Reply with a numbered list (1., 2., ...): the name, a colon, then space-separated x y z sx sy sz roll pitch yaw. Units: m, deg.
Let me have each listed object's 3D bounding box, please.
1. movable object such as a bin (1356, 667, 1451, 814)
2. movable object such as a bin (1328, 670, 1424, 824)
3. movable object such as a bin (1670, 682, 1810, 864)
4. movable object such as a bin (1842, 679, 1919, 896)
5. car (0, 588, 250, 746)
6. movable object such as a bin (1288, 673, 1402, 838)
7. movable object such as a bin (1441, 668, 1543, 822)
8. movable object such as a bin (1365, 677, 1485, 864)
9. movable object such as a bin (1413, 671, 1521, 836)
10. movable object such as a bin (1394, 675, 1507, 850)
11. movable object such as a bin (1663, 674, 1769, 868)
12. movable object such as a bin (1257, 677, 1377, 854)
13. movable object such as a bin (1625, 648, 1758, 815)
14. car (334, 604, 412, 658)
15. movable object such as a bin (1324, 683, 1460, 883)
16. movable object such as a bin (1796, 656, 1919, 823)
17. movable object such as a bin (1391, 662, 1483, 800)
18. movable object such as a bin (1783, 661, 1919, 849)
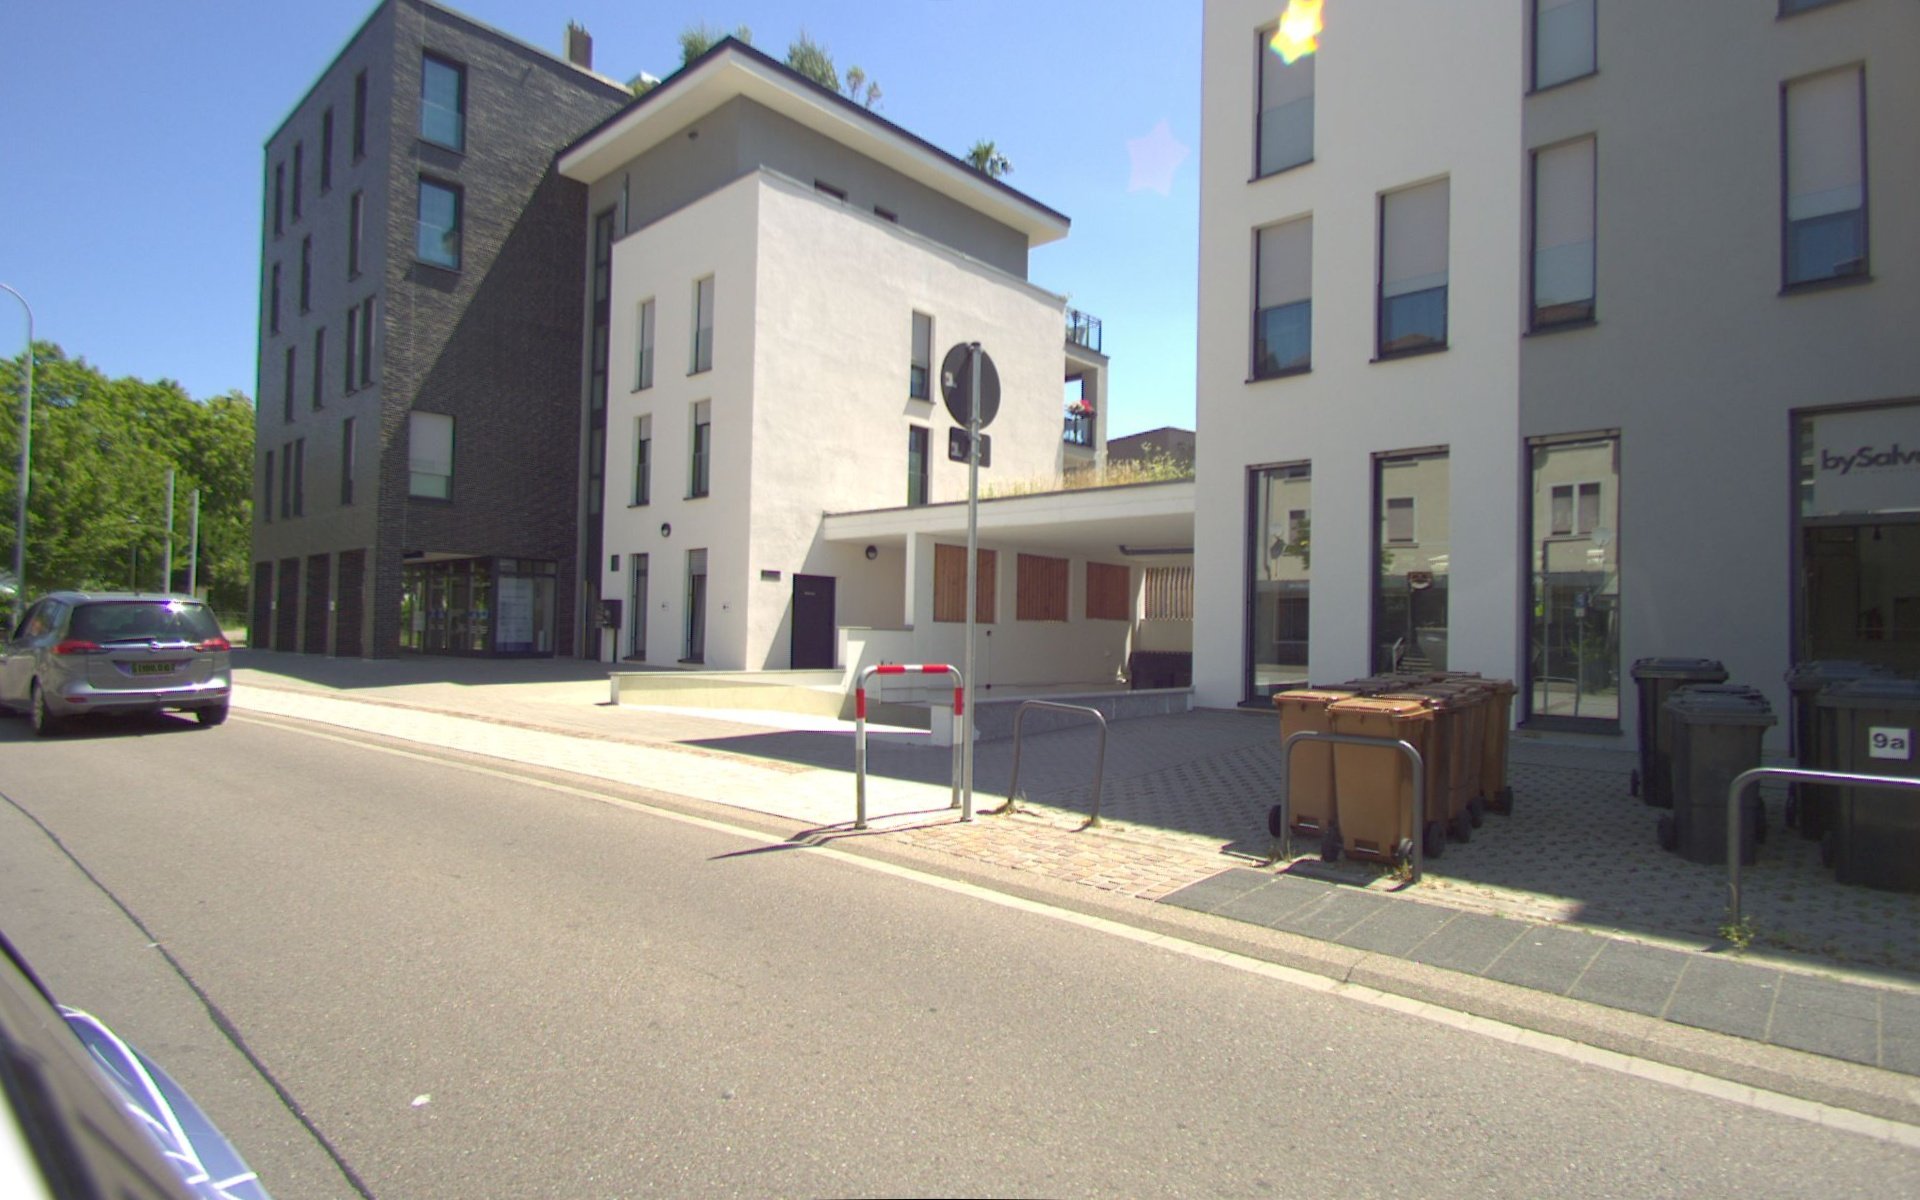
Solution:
1. movable object such as a bin: 3.292 1.016 7.513 0.526 1.005 0.478 -1 -2 41
2. movable object such as a bin: 2.947 1.016 7.174 0.523 1.005 0.420 -1 -3 43
3. movable object such as a bin: 4.975 1.071 6.494 0.579 1.047 0.616 0 -2 26
4. movable object such as a bin: 4.869 0.933 5.126 0.559 1.028 0.548 -1 -2 38
5. car: -10.855 0.728 12.771 4.229 1.671 1.924 0 -1 38
6. movable object such as a bin: 2.578 1.011 6.785 0.588 1.005 0.478 -1 -3 42
7. movable object such as a bin: 3.757 0.998 7.153 0.555 1.005 0.399 -1 -3 42
8. movable object such as a bin: 2.752 0.975 5.991 0.555 1.005 0.399 -1 -3 42
9. movable object such as a bin: 3.360 0.989 6.709 0.555 1.005 0.399 -1 -3 42
10. movable object such as a bin: 3.087 0.991 6.373 0.555 1.005 0.399 -1 -3 42
11. movable object such as a bin: 4.288 0.940 5.768 0.403 1.006 0.550 0 -3 29
12. movable object such as a bin: 2.252 1.009 6.378 0.587 1.005 0.478 -1 -2 39
13. movable object such as a bin: 5.232 0.907 7.277 0.644 1.104 0.688 0 -2 26
14. car: -18.715 0.960 32.200 1.672 1.497 4.090 6 -4 -35
15. movable object such as a bin: 2.422 0.987 5.679 0.588 1.005 0.478 -1 -3 42
16. movable object such as a bin: 6.044 0.912 6.831 0.479 1.047 0.551 0 -2 26
17. movable object such as a bin: 3.753 1.008 7.962 0.587 1.005 0.478 -1 -2 36
18. movable object such as a bin: 5.500 0.909 6.159 0.601 1.047 0.672 0 -2 26
